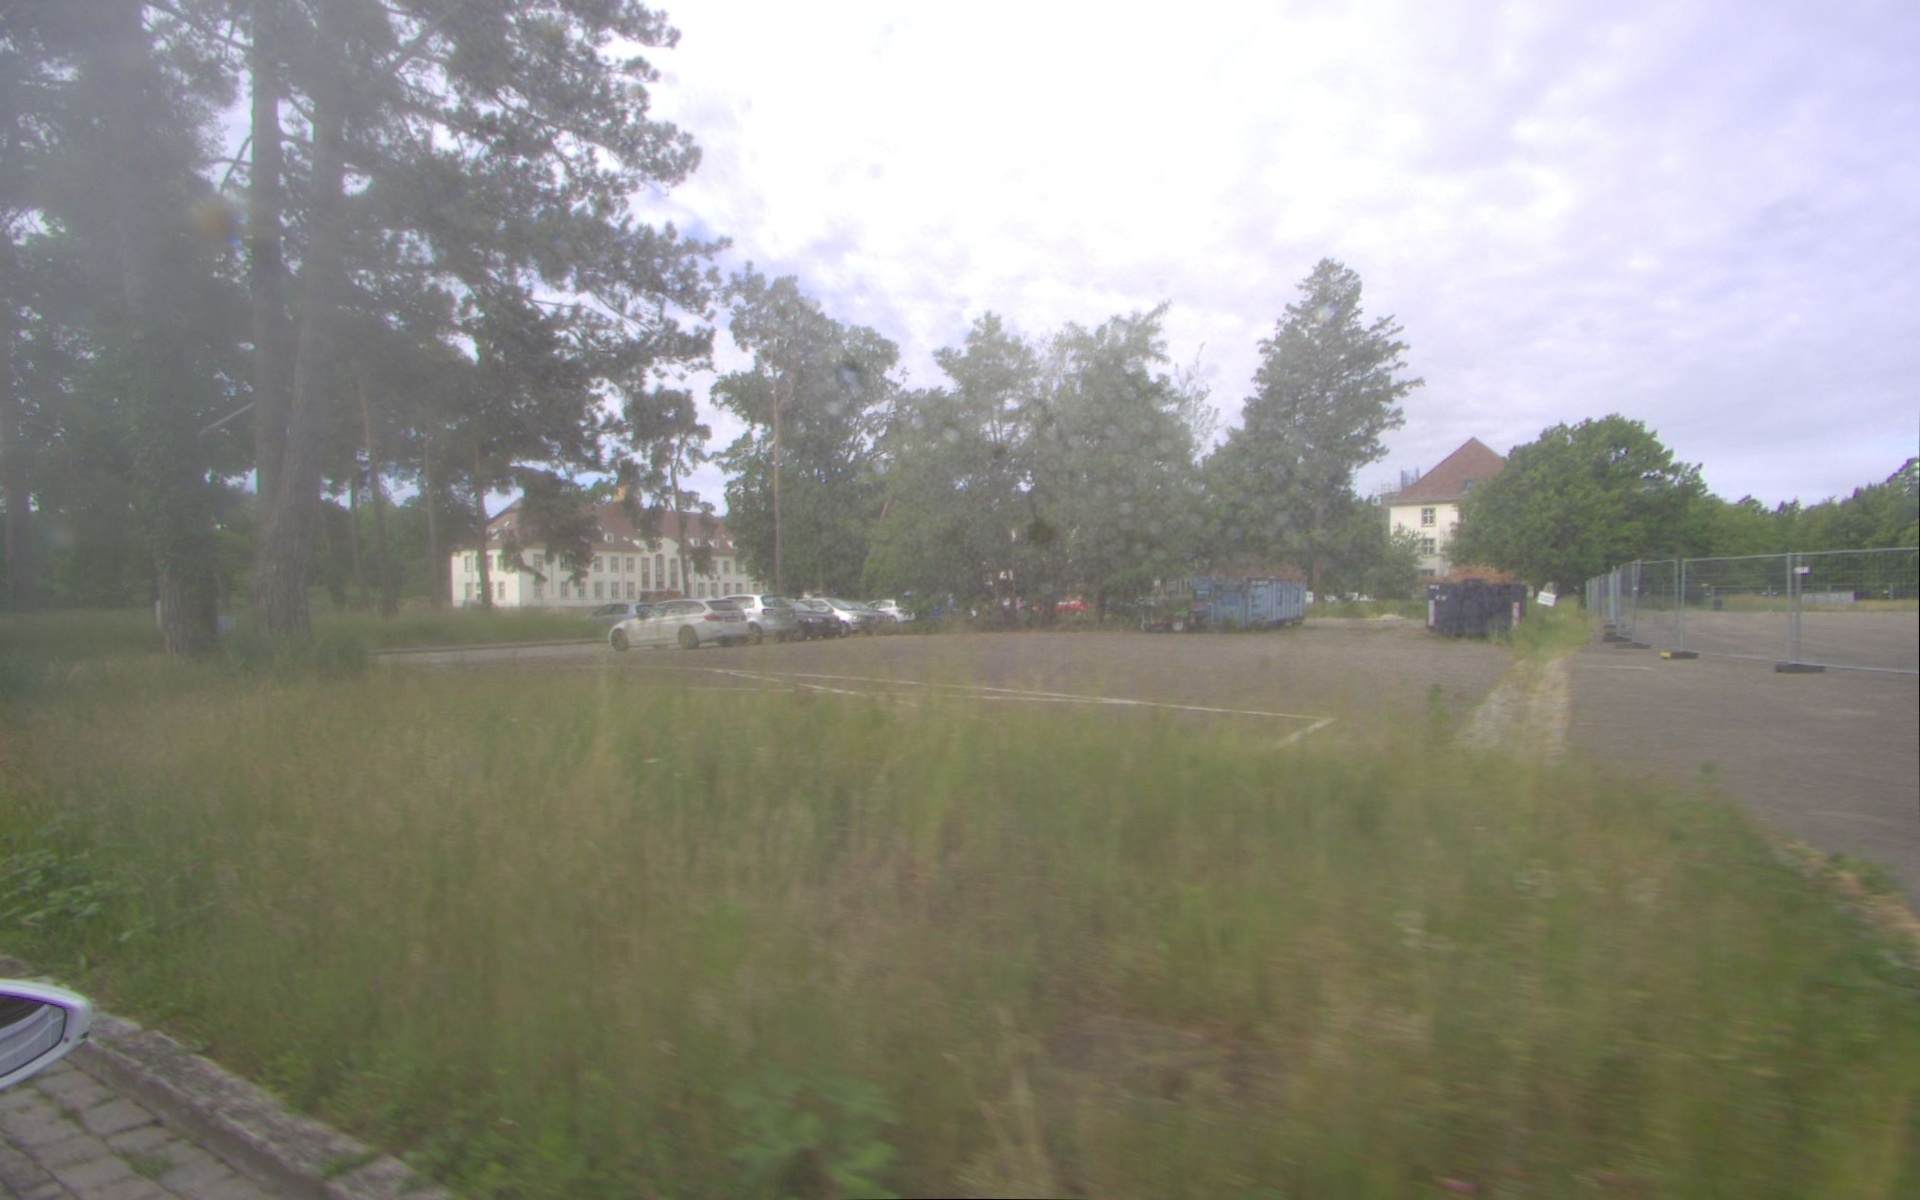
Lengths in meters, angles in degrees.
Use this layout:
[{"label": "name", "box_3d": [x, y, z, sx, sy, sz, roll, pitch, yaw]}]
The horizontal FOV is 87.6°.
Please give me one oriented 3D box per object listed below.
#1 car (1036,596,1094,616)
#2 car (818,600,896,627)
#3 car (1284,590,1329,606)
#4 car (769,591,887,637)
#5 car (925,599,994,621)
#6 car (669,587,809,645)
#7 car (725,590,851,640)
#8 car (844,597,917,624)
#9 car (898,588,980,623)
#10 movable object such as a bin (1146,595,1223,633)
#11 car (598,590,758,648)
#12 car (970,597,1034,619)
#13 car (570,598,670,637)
[{"label": "car", "box_3d": [8.194, 0.441, 77.896, 4.183, 1.542, 1.730, 0, 0, 33]}, {"label": "car", "box_3d": [-5.627, 0.724, 54.520, 4.190, 1.409, 1.727, 0, 0, 38]}, {"label": "car", "box_3d": [44.924, -0.233, 129.835, 5.222, 1.980, 2.079, 0, -1, 33]}, {"label": "car", "box_3d": [-4.883, 0.517, 36.759, 4.186, 1.504, 1.696, -3, -1, 34]}, {"label": "car", "box_3d": [-0.042, 0.613, 63.733, 4.184, 1.409, 1.729, 0, 0, 34]}, {"label": "car", "box_3d": [-7.033, 0.517, 31.771, 4.181, 1.626, 1.779, -3, -1, 29]}, {"label": "car", "box_3d": [-5.910, 0.532, 34.169, 4.186, 1.504, 1.696, -3, -1, 34]}, {"label": "car", "box_3d": [-4.564, 0.587, 57.252, 4.190, 1.522, 1.610, 0, 0, 38]}, {"label": "car", "box_3d": [-1.332, 0.338, 61.647, 4.724, 2.053, 2.131, 0, 0, 34]}, {"label": "movable object such as a bin", "box_3d": [6.876, 0.429, 30.703, 2.176, 1.149, 0.960, 0, -1, 24]}, {"label": "car", "box_3d": [-8.319, 0.592, 29.461, 4.541, 1.505, 1.846, -3, -2, 29]}, {"label": "car", "box_3d": [2.881, 0.534, 69.176, 4.183, 1.542, 1.730, 0, 0, 33]}, {"label": "car", "box_3d": [-14.137, 0.685, 41.570, 4.184, 1.529, 1.729, 0, 0, 34]}]
